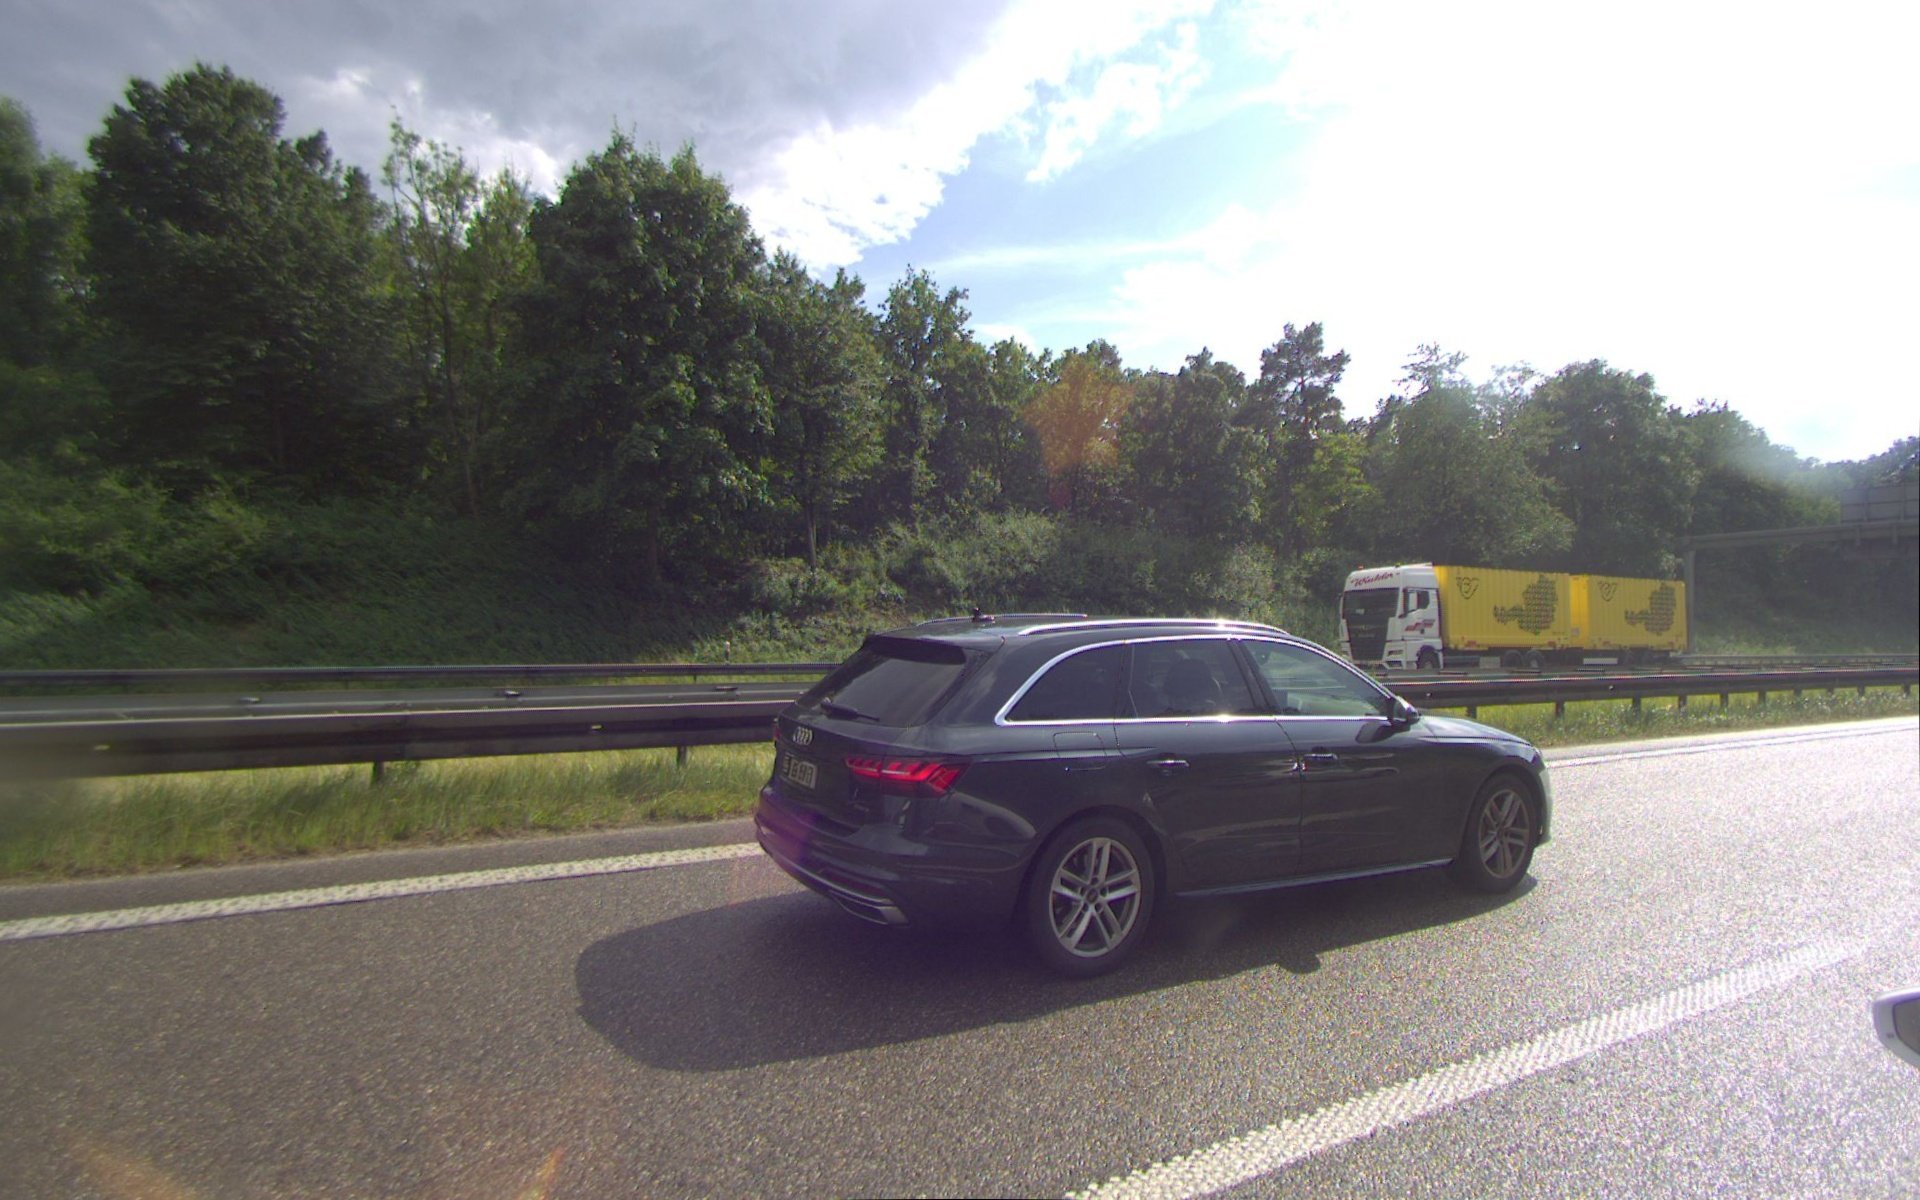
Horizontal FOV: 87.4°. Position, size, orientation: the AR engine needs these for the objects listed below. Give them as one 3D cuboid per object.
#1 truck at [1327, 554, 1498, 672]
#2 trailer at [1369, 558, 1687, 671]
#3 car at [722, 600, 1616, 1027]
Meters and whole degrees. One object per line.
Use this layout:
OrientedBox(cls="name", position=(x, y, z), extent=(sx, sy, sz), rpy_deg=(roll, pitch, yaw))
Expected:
OrientedBox(cls="truck", position=(15.387, 0.462, 34.134), extent=(5.270, 3.713, 2.709), rpy_deg=(2, 0, -31))
OrientedBox(cls="trailer", position=(22.061, 0.666, 38.160), extent=(16.485, 3.693, 2.709), rpy_deg=(2, 0, -31))
OrientedBox(cls="car", position=(1.330, 0.790, 5.430), extent=(4.783, 1.437, 1.785), rpy_deg=(2, 0, -31))
